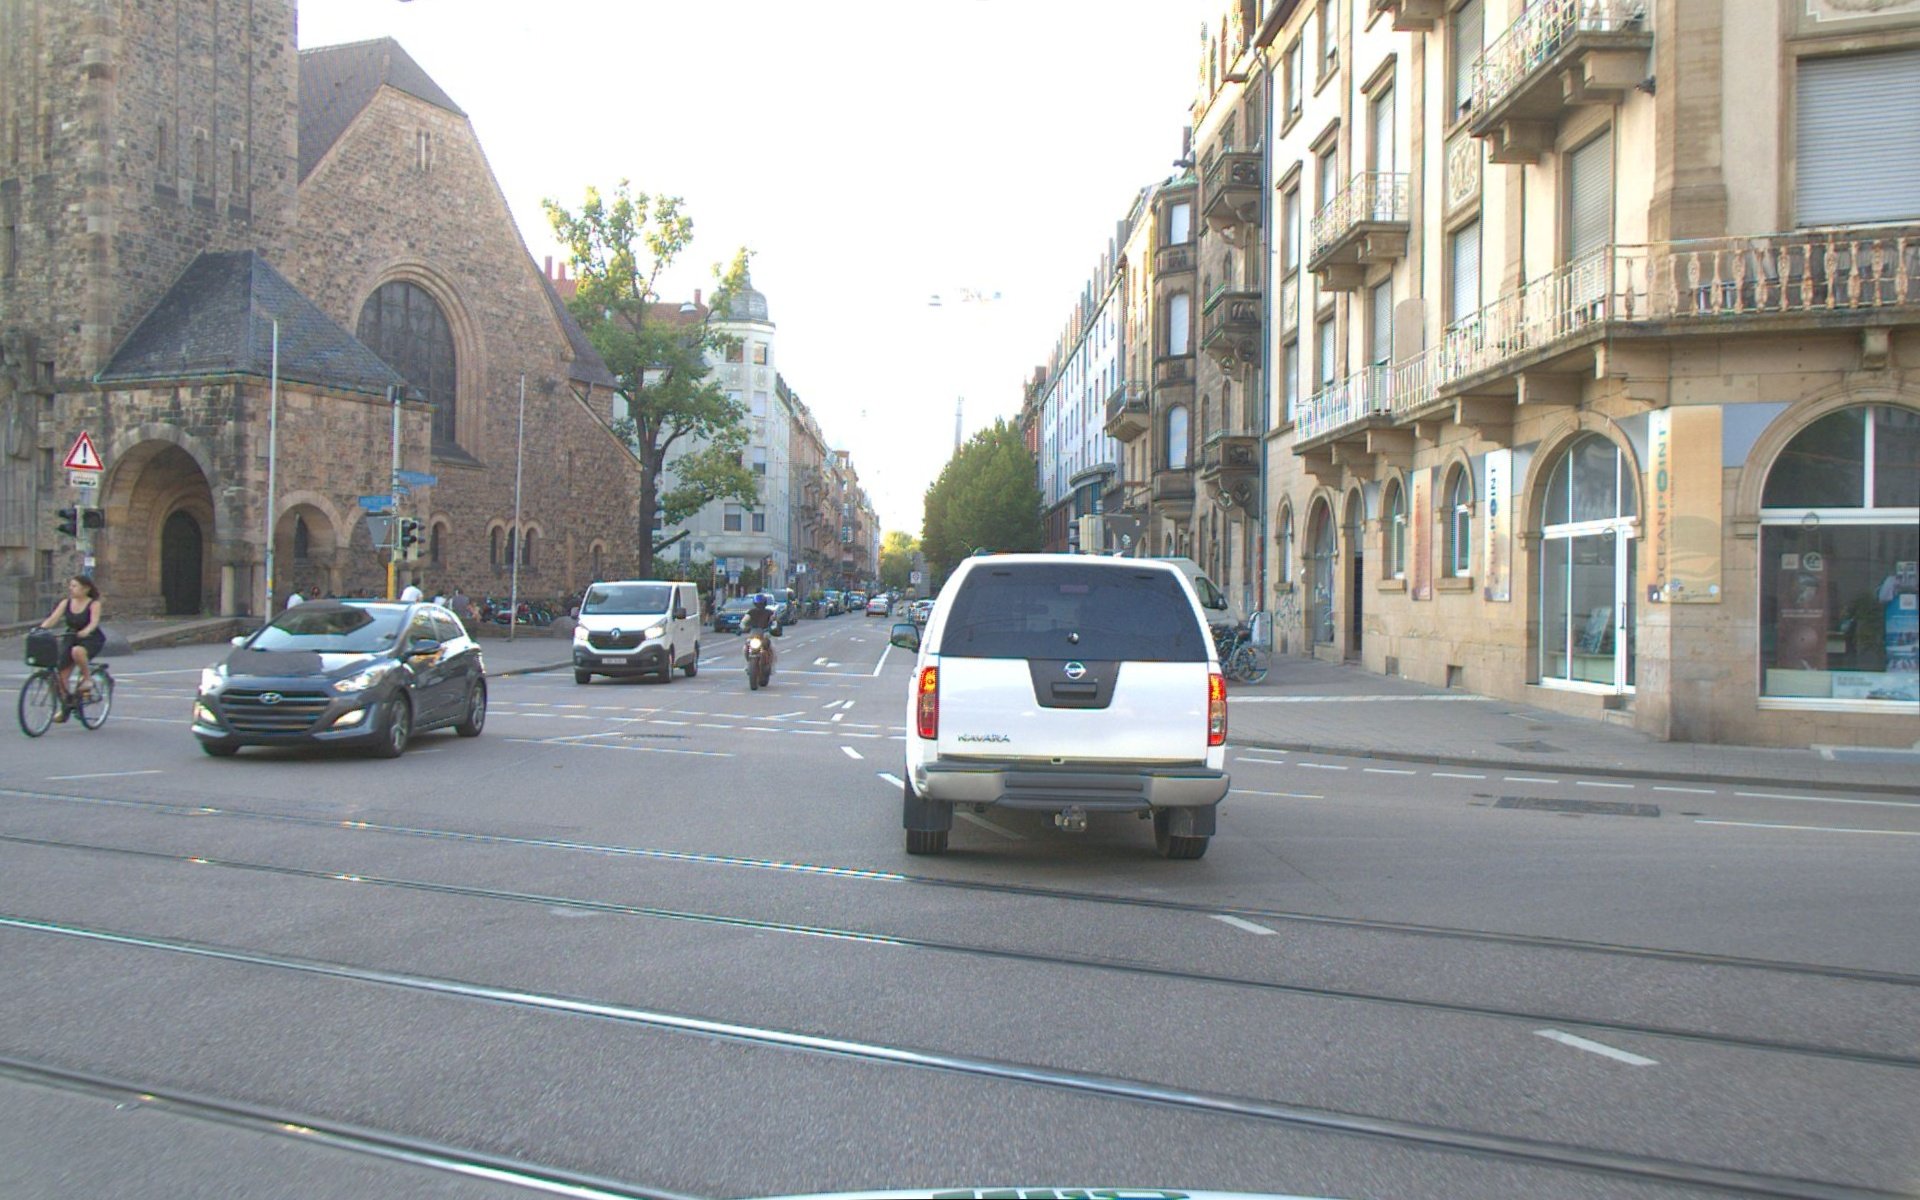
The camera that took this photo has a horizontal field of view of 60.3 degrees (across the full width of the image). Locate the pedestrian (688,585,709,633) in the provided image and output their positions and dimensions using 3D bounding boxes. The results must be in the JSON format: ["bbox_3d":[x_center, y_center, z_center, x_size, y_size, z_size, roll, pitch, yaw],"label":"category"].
[{"bbox_3d":[-10.358,0.343,65.460,0.635,1.888,0.556,2,-1,-29],"label":"pedestrian"}]

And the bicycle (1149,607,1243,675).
[{"bbox_3d":[4.711,0.818,33.064,1.781,1.259,0.410,-3,0,-2],"label":"bicycle"}]

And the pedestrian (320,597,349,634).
[{"bbox_3d":[-16.557,0.415,43.777,0.469,0.977,0.522,1,-1,30],"label":"pedestrian"}]

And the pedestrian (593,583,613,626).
[{"bbox_3d":[-14.611,0.186,67.733,0.629,1.725,0.562,1,-1,-1],"label":"pedestrian"}]

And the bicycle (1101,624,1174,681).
[{"bbox_3d":[3.442,1.014,32.143,1.344,1.042,0.317,-3,0,-2],"label":"bicycle"}]

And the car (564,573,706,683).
[{"bbox_3d":[-6.443,0.534,33.308,1.953,2.049,4.949,0,0,-1],"label":"car"}]

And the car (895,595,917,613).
[{"bbox_3d":[-4.708,0.345,144.432,1.821,1.556,3.999,2,0,-1],"label":"car"}]

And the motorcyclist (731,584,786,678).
[{"bbox_3d":[-3.656,0.556,30.098,0.857,1.673,0.963,1,0,-1],"label":"motorcyclist"}]

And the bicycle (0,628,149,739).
[{"bbox_3d":[-9.338,0.847,17.477,0.587,1.062,1.945,1,0,-1],"label":"bicycle"}]

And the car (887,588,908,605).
[{"bbox_3d":[-5.863,-0.305,154.747,1.882,1.556,3.998,2,0,-3],"label":"car"}]

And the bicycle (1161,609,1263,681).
[{"bbox_3d":[4.716,0.841,31.021,1.781,1.259,0.488,-3,0,-2],"label":"bicycle"}]

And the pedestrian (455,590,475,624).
[{"bbox_3d":[-14.431,0.208,48.191,0.513,0.977,0.477,2,0,-16],"label":"pedestrian"}]

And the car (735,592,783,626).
[{"bbox_3d":[-9.671,0.431,79.673,1.821,1.556,3.999,2,0,-1],"label":"car"}]

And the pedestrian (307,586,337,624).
[{"bbox_3d":[-16.430,0.135,42.608,0.511,0.977,0.479,1,0,19],"label":"pedestrian"}]

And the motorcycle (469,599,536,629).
[{"bbox_3d":[-16.492,0.499,59.607,2.200,1.005,0.707,2,0,-6],"label":"motorcycle"}]

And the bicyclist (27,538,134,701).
[{"bbox_3d":[-9.326,0.202,17.566,0.587,1.673,0.963,1,0,-1],"label":"bicyclist"}]

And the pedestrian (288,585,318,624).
[{"bbox_3d":[-17.039,0.119,42.884,0.511,0.977,0.479,1,0,19],"label":"pedestrian"}]

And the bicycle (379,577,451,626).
[{"bbox_3d":[-12.716,0.037,38.658,0.642,1.097,2.246,1,0,8],"label":"bicycle"}]

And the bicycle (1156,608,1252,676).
[{"bbox_3d":[4.780,0.818,32.458,1.781,1.259,0.412,-3,0,-2],"label":"bicycle"}]

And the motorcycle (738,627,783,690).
[{"bbox_3d":[-3.621,1.049,30.087,0.587,1.062,1.945,1,0,-1],"label":"motorcycle"}]

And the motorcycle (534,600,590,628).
[{"bbox_3d":[-15.387,0.544,63.920,2.120,1.005,0.594,1,0,20],"label":"motorcycle"}]

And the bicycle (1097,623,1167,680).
[{"bbox_3d":[3.395,1.016,32.689,1.306,1.042,0.317,-3,0,-2],"label":"bicycle"}]

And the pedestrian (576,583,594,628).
[{"bbox_3d":[-14.831,0.213,65.432,0.631,1.725,0.561,2,-1,-9],"label":"pedestrian"}]

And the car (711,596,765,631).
[{"bbox_3d":[-9.567,0.558,71.477,1.821,1.422,3.999,2,0,-1],"label":"car"}]

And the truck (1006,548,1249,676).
[{"bbox_3d":[3.794,0.269,36.645,5.628,2.610,2.251,1,0,-44],"label":"truck"}]

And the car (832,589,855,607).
[{"bbox_3d":[-10.744,-0.168,152.383,1.821,1.556,3.999,2,0,-1],"label":"car"}]

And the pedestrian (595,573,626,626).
[{"bbox_3d":[-11.396,-0.027,53.997,0.796,1.699,0.859,1,0,-2],"label":"pedestrian"}]

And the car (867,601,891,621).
[{"bbox_3d":[-6.611,0.868,134.759,1.822,1.556,3.997,2,0,-3],"label":"car"}]

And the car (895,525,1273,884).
[{"bbox_3d":[0.664,0.561,10.769,1.953,1.841,4.000,2,0,0],"label":"car"}]

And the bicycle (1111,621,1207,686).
[{"bbox_3d":[3.666,0.985,30.547,1.692,1.102,0.317,-3,0,-2],"label":"bicycle"}]

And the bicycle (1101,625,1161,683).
[{"bbox_3d":[3.251,1.022,31.431,1.055,1.042,0.317,-3,0,-2],"label":"bicycle"}]

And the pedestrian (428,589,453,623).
[{"bbox_3d":[-15.176,0.188,48.314,0.510,0.977,0.479,1,0,17],"label":"pedestrian"}]

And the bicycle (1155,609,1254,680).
[{"bbox_3d":[4.679,0.848,31.732,1.781,1.259,0.477,-3,0,-2],"label":"bicycle"}]

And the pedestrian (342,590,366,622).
[{"bbox_3d":[-19.364,0.190,52.838,0.541,0.977,0.708,2,0,-6],"label":"pedestrian"}]

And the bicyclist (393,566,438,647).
[{"bbox_3d":[-12.734,0.159,38.682,0.642,1.859,0.860,1,0,7],"label":"bicyclist"}]

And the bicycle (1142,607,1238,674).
[{"bbox_3d":[4.669,0.821,33.595,1.818,1.259,0.530,-3,0,-2],"label":"bicycle"}]

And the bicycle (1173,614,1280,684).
[{"bbox_3d":[4.835,0.886,30.080,1.781,1.170,0.636,-3,0,-2],"label":"bicycle"}]

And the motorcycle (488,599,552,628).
[{"bbox_3d":[-16.395,0.508,61.634,2.200,1.005,0.707,2,0,-6],"label":"motorcycle"}]

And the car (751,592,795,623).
[{"bbox_3d":[-9.733,0.380,86.255,1.821,1.556,3.999,2,0,-1],"label":"car"}]

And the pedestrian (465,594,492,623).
[{"bbox_3d":[-16.513,0.281,56.693,0.540,0.977,0.709,1,0,21],"label":"pedestrian"}]

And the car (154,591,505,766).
[{"bbox_3d":[-6.056,0.671,16.468,1.953,1.503,4.139,0,0,-1],"label":"car"}]

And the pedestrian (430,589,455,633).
[{"bbox_3d":[-15.461,0.329,49.406,0.468,1.267,0.523,1,-1,17],"label":"pedestrian"}]
